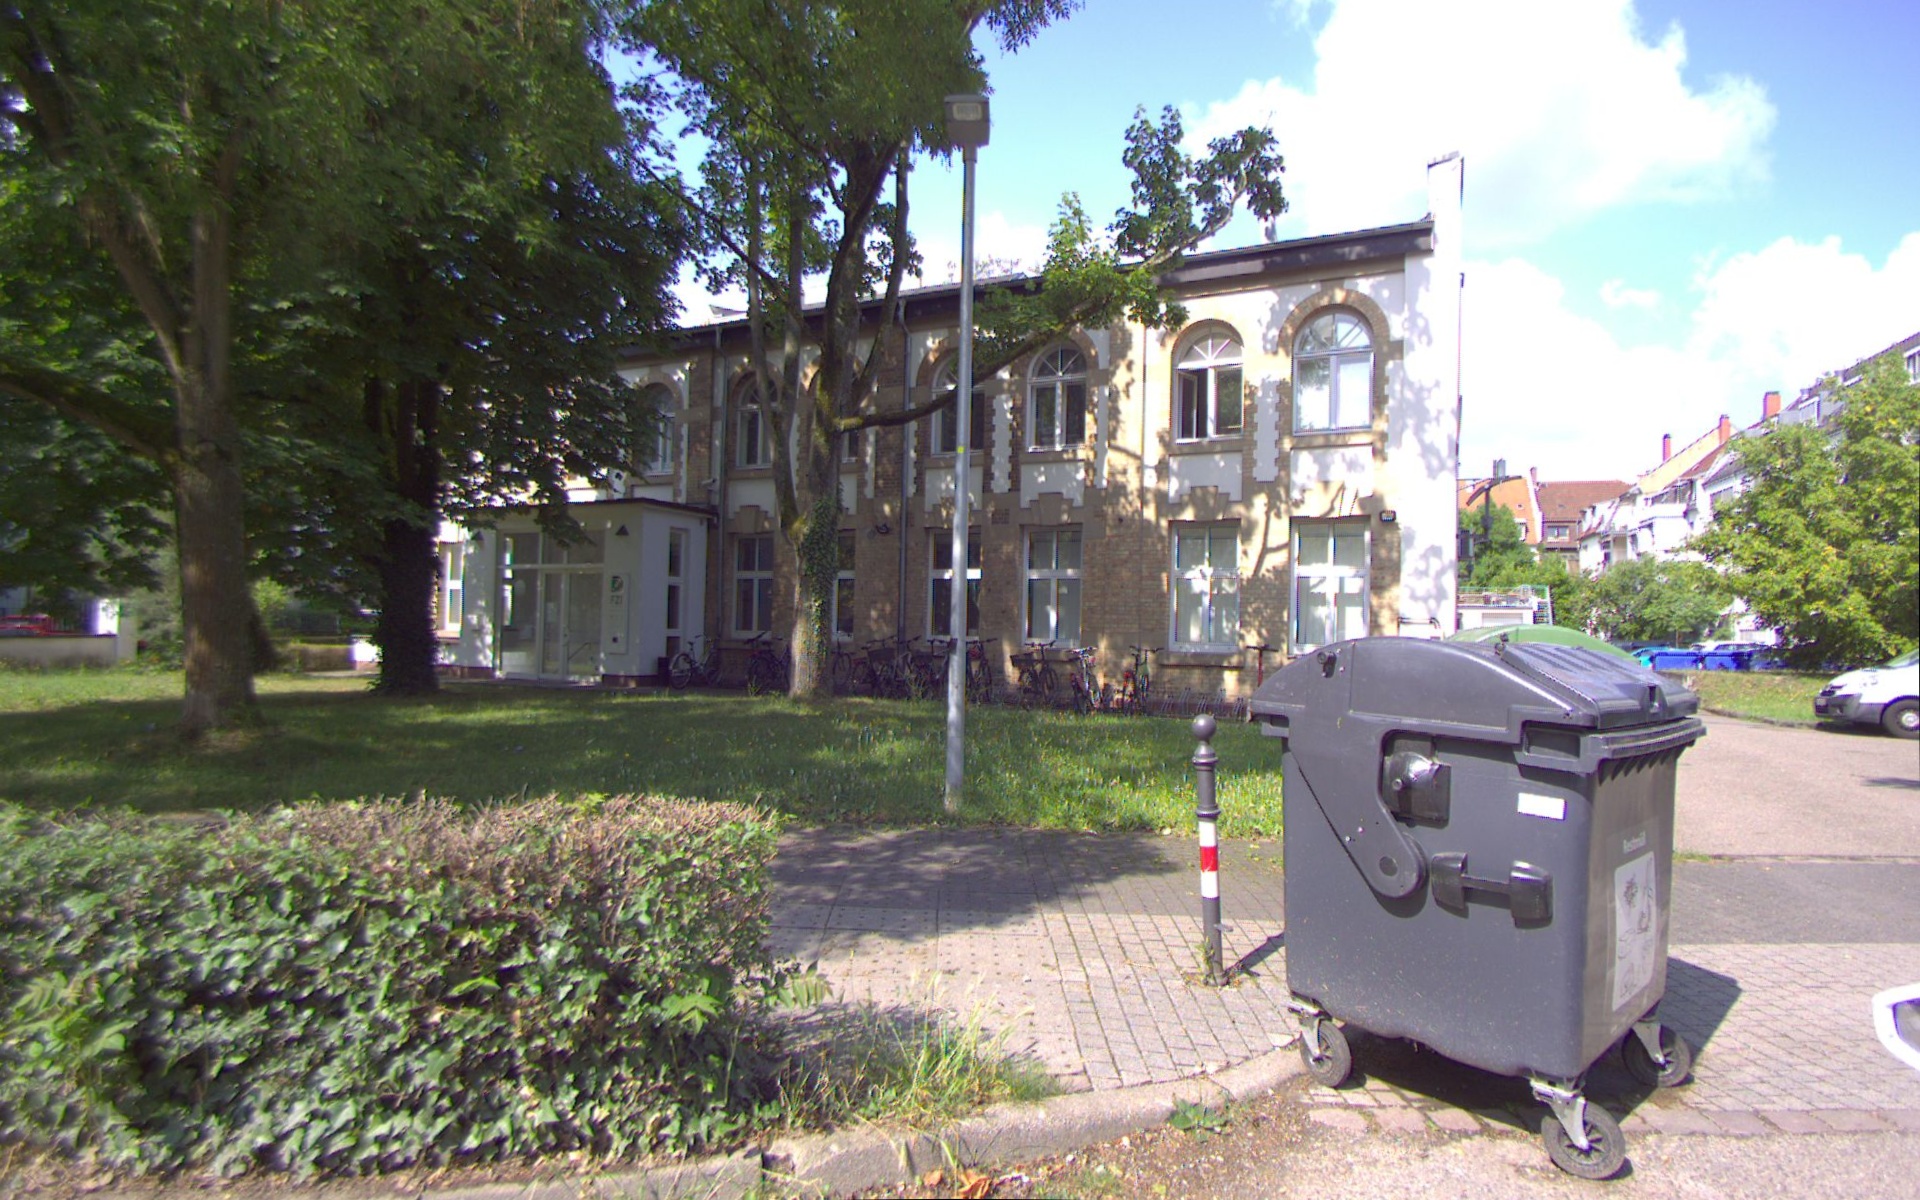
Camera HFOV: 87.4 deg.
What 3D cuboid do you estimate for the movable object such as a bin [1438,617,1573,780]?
[{"bbox_3d":[5.680,0.964,10.512,1.083,1.471,1.341,4,3,28],"label":"movable object such as a bin"}]

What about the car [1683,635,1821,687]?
[{"bbox_3d":[31.837,2.425,40.522,3.922,1.769,1.949,2,3,21],"label":"car"}]

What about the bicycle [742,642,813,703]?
[{"bbox_3d":[-3.556,1.397,19.713,0.314,1.051,1.858,4,2,24],"label":"bicycle"}]

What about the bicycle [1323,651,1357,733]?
[{"bbox_3d":[5.789,1.359,15.264,0.314,1.051,1.858,4,2,24],"label":"bicycle"}]

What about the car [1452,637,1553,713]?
[{"bbox_3d":[12.840,1.695,23.998,1.850,1.461,4.337,3,0,26],"label":"car"}]

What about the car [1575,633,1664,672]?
[{"bbox_3d":[37.783,2.972,57.640,3.922,1.841,1.663,4,3,21],"label":"car"}]

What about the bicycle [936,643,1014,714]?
[{"bbox_3d":[0.292,1.371,17.985,0.412,1.070,2.063,4,3,29],"label":"bicycle"}]

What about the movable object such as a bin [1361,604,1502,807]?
[{"bbox_3d":[3.887,0.814,8.389,0.863,1.471,1.234,4,3,20],"label":"movable object such as a bin"}]

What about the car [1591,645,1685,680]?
[{"bbox_3d":[36.889,3.361,54.776,3.922,1.595,1.628,1,3,21],"label":"car"}]

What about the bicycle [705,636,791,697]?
[{"bbox_3d":[-4.182,1.293,20.004,0.412,1.070,2.063,0,1,29],"label":"bicycle"}]

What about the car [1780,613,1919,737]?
[{"bbox_3d":[17.138,1.304,16.858,4.864,1.990,1.997,2,-1,28],"label":"car"}]

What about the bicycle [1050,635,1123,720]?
[{"bbox_3d":[2.167,1.271,17.023,0.412,1.232,2.063,4,3,29],"label":"bicycle"}]

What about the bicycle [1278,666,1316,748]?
[{"bbox_3d":[5.234,1.617,15.562,0.314,1.051,1.858,4,2,24],"label":"bicycle"}]

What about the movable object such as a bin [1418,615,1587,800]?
[{"bbox_3d":[4.985,0.925,9.277,1.206,1.471,1.281,4,1,29],"label":"movable object such as a bin"}]

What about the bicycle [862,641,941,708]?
[{"bbox_3d":[-1.050,1.352,18.692,0.412,1.070,2.063,0,1,29],"label":"bicycle"}]

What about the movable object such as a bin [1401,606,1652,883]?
[{"bbox_3d":[3.558,0.829,6.495,1.081,1.471,1.343,3,3,18],"label":"movable object such as a bin"}]

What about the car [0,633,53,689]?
[{"bbox_3d":[-29.085,1.778,29.314,1.647,1.632,3.970,1,-2,-3],"label":"car"}]

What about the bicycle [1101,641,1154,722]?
[{"bbox_3d":[2.838,1.339,16.868,0.351,1.158,1.858,4,3,24],"label":"bicycle"}]

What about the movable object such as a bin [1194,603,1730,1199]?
[{"bbox_3d":[1.672,0.784,3.336,1.287,1.501,1.233,3,-2,-44],"label":"movable object such as a bin"}]

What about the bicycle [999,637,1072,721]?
[{"bbox_3d":[1.344,1.329,17.468,0.412,1.138,2.062,4,6,29],"label":"bicycle"}]

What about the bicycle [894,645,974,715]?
[{"bbox_3d":[-0.444,1.433,18.354,0.412,1.070,2.063,4,3,29],"label":"bicycle"}]

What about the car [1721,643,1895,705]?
[{"bbox_3d":[28.690,2.464,34.137,4.046,1.628,1.754,4,3,21],"label":"car"}]

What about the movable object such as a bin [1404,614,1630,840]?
[{"bbox_3d":[4.186,0.901,7.703,1.080,1.471,1.234,3,3,9],"label":"movable object such as a bin"}]

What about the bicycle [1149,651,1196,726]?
[{"bbox_3d":[3.544,1.435,16.642,0.314,1.051,1.858,4,2,24],"label":"bicycle"}]
